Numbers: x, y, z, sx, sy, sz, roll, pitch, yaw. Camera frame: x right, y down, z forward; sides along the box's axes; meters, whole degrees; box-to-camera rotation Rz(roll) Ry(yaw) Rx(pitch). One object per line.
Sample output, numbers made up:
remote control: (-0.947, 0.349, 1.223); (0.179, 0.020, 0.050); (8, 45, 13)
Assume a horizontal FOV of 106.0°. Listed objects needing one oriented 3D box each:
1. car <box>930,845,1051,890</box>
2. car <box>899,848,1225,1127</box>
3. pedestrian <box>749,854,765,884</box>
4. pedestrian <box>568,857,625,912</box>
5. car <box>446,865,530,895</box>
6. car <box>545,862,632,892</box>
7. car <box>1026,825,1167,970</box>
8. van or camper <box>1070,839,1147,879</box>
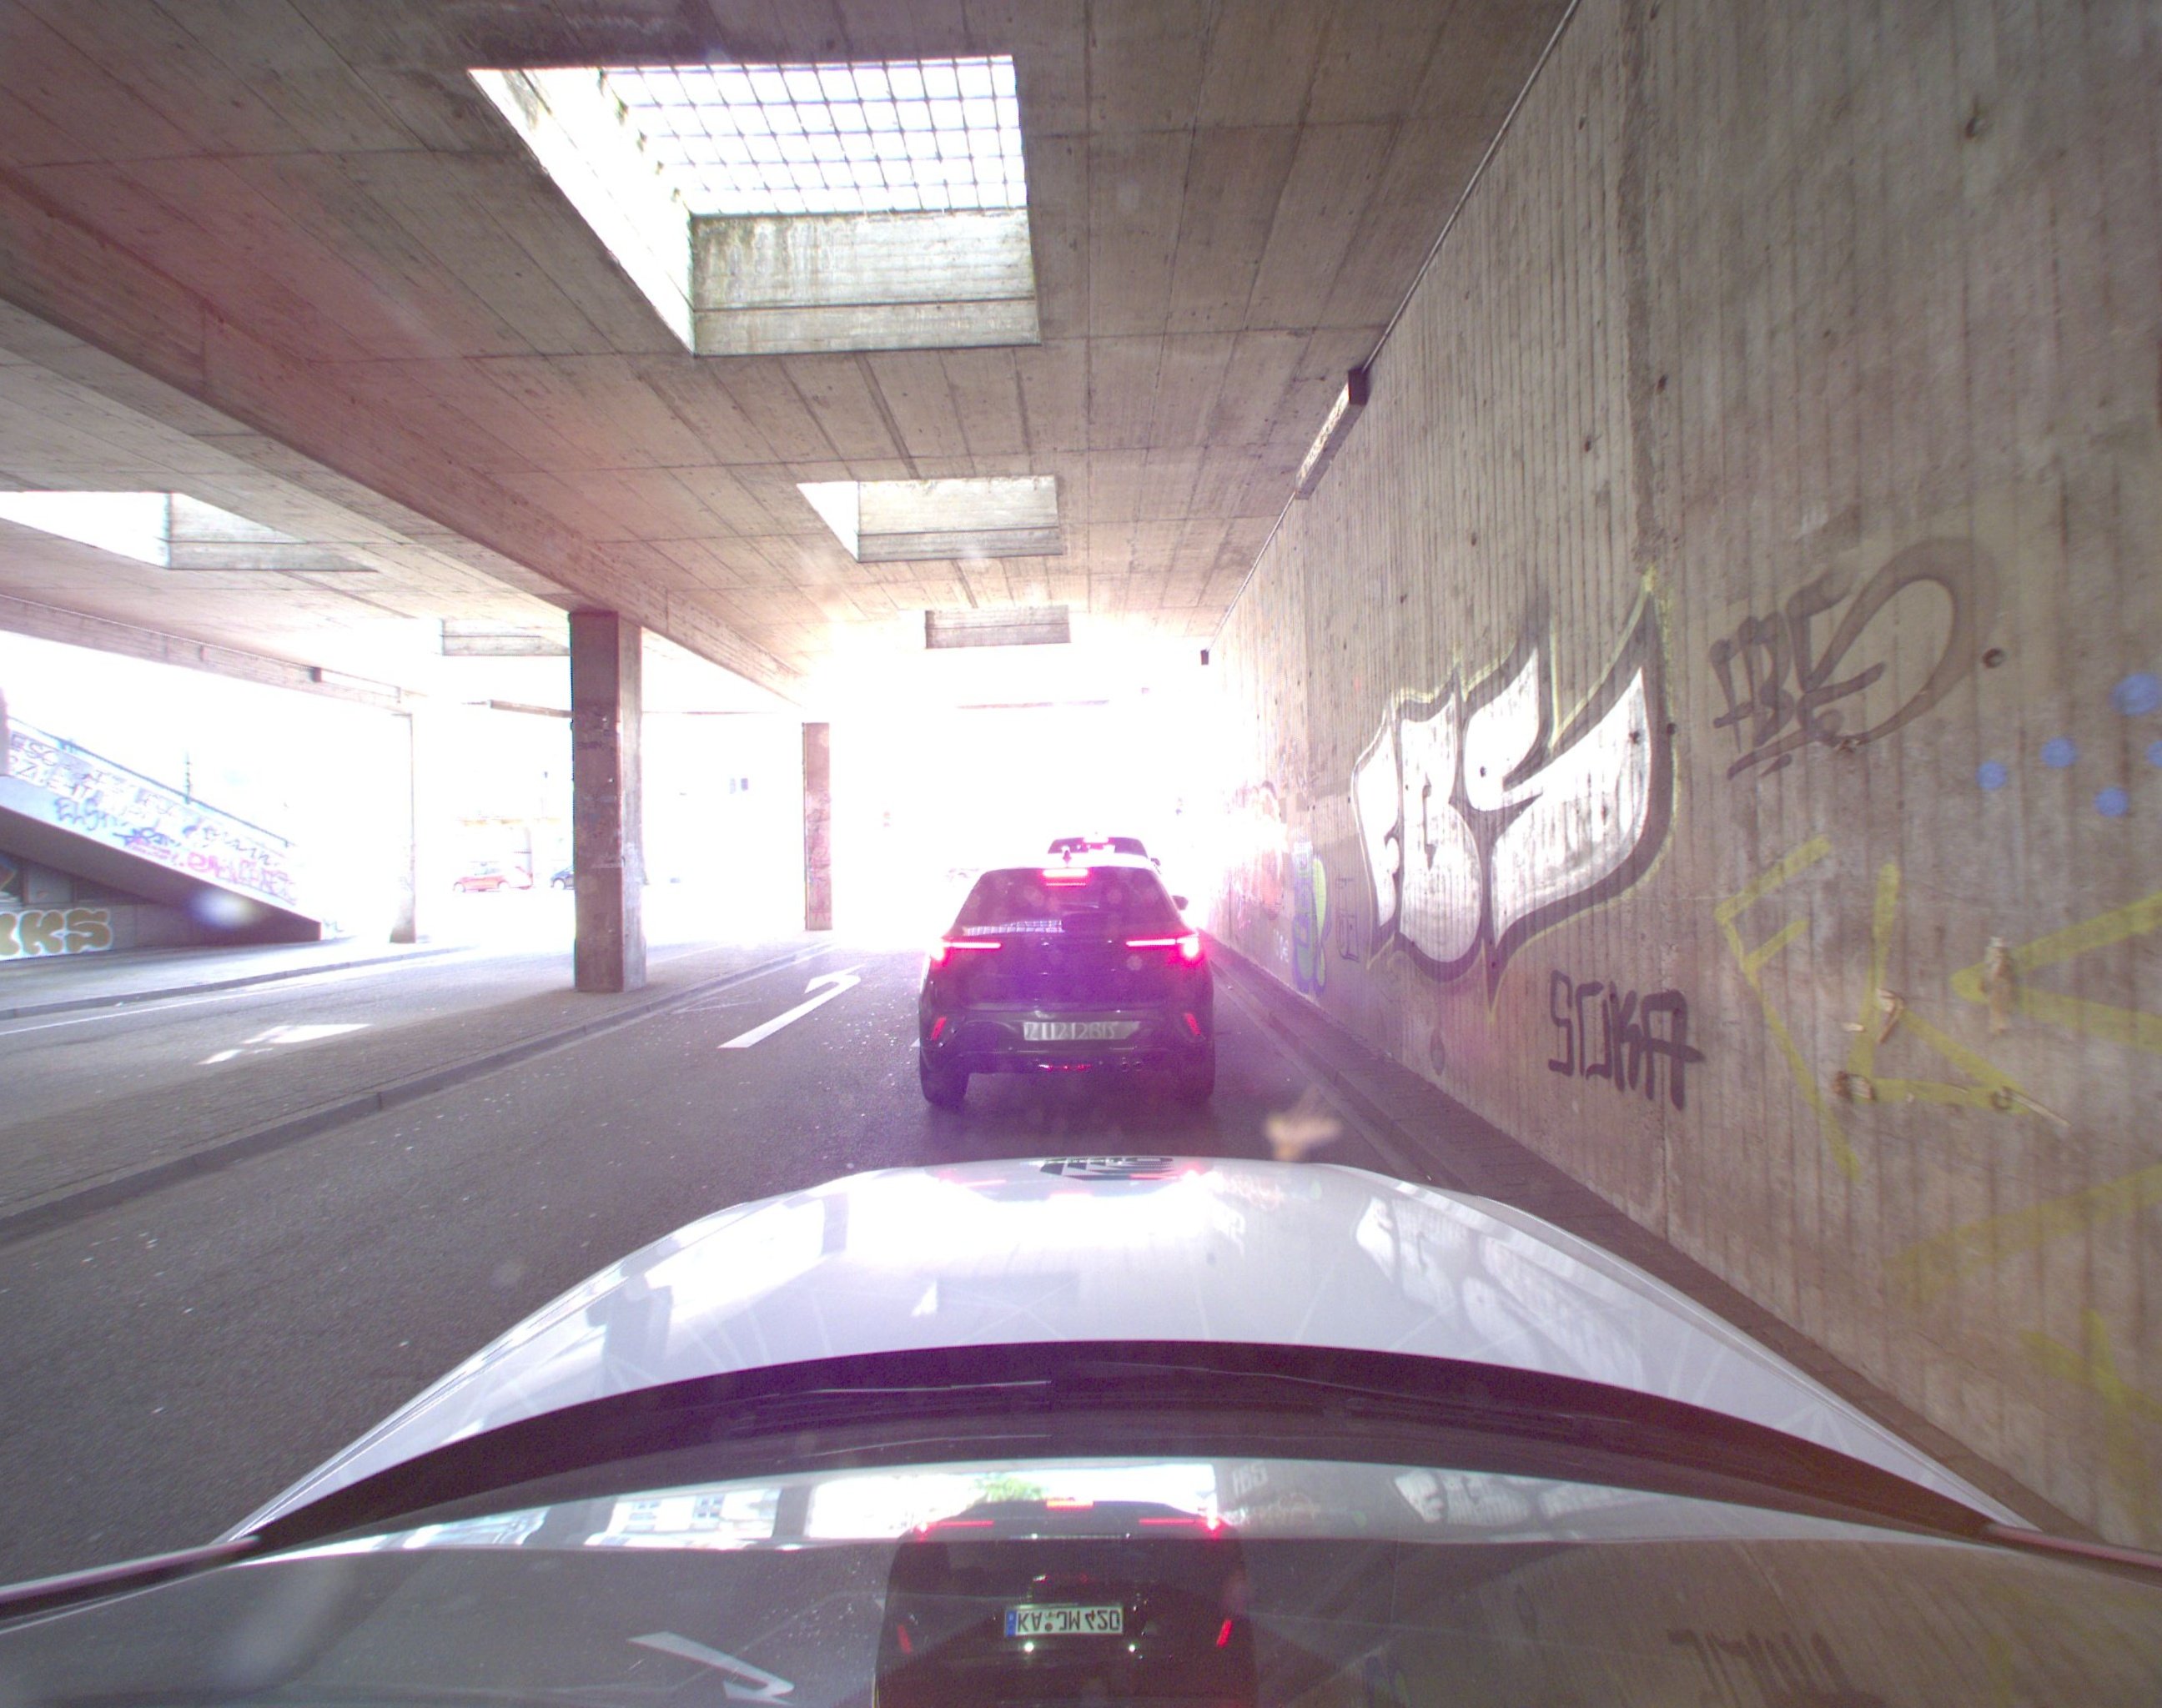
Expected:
car: (-3.751, 0.504, 33.623); (4.593, 1.641, 1.987); (-2, 0, -20)
car: (-0.028, 0.717, 6.388); (1.746, 1.498, 4.002); (0, 0, 2)
pedestrian: (-18.702, 0.844, 47.001); (0.719, 1.705, 0.624); (0, -1, -3)
pedestrian: (-16.061, 0.996, 27.025); (1.103, 1.737, 1.146); (-2, 0, 15)
car: (-32.882, 1.444, 45.220); (3.519, 1.506, 1.563); (-2, 0, 2)
car: (-27.391, 1.287, 45.377); (3.742, 1.508, 1.752); (-2, 0, 0)
car: (0.268, 0.551, 12.333); (1.779, 1.833, 3.962); (-1, 0, 2)
van or camper: (1.517, 0.250, 43.855); (3.854, 2.013, 2.005); (-2, 0, 9)
